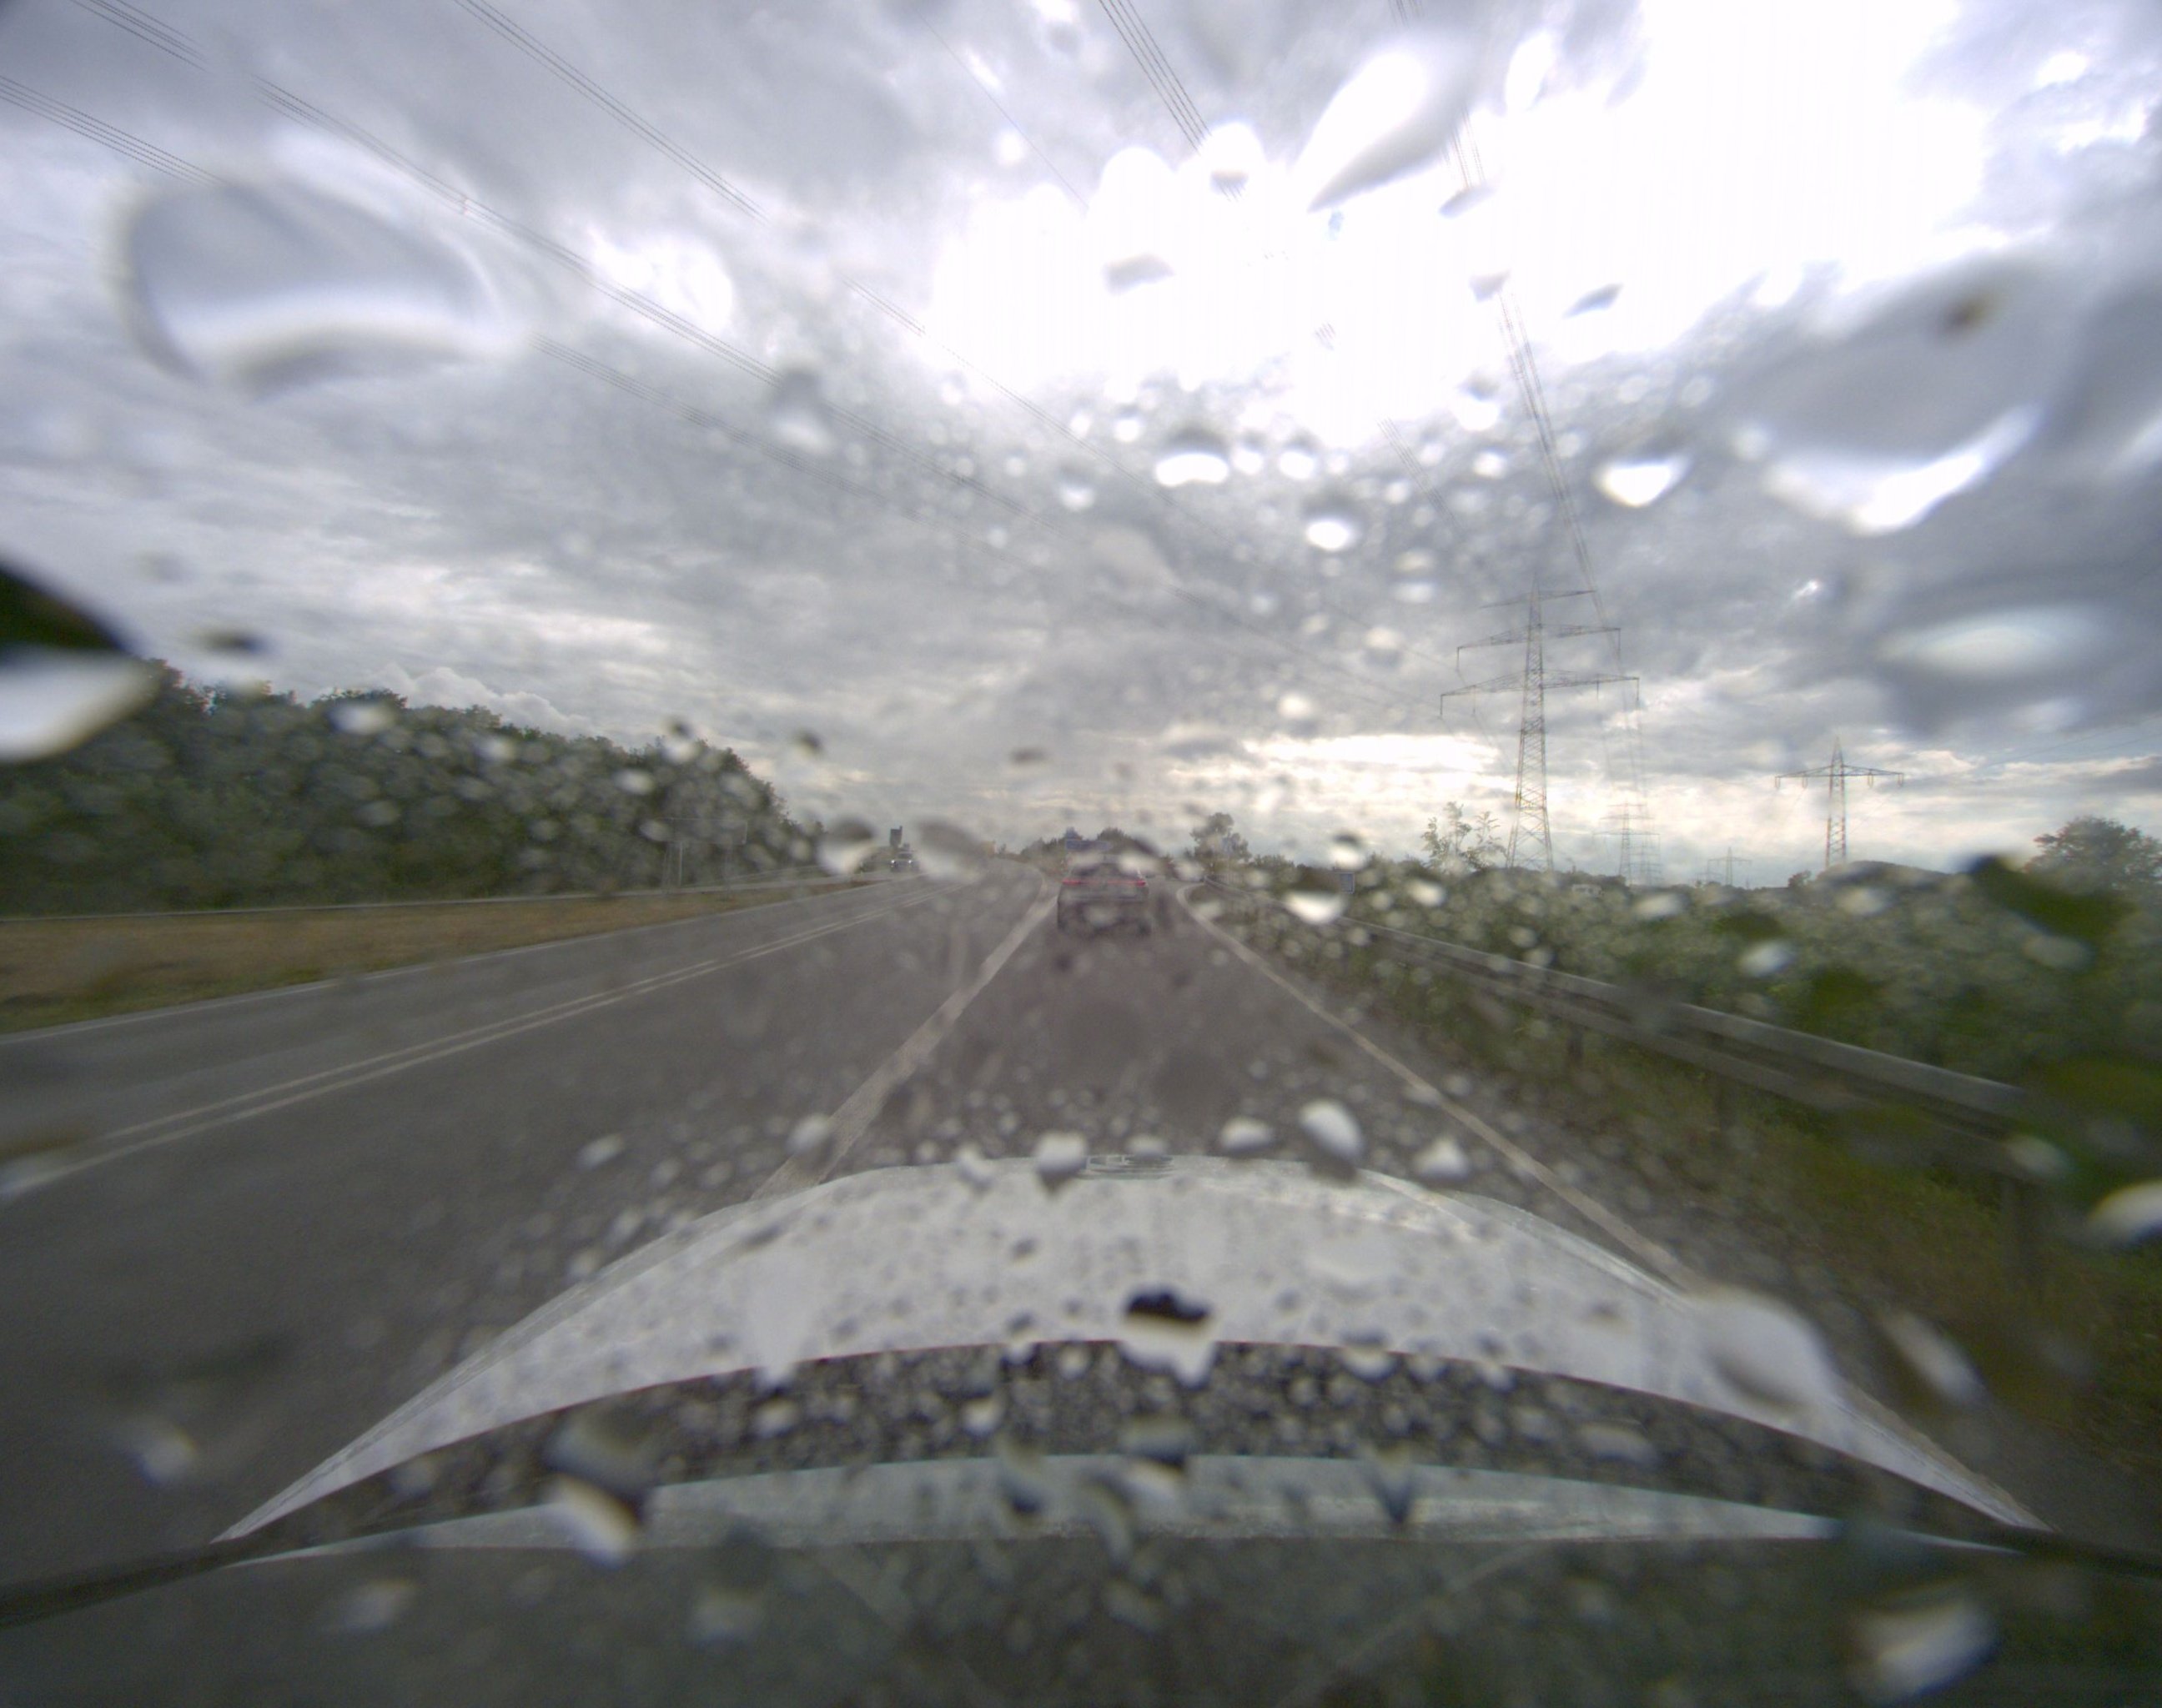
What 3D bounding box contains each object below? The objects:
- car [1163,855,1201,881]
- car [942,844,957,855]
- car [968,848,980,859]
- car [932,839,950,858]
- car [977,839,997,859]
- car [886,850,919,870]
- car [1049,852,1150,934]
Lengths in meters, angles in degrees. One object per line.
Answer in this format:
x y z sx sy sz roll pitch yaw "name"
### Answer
6.676 0.945 53.566 1.778 1.441 4.015 3 -2 16 "car"
-28.562 -1.016 177.259 2.607 2.251 5.505 1 -2 -15 "car"
-17.470 -0.053 133.227 1.792 1.688 3.985 1 -2 -10 "car"
-20.687 -0.770 120.321 2.351 2.701 6.970 2 0 -10 "car"
-13.320 -0.717 115.815 2.570 2.725 7.181 1 0 -6 "car"
-13.455 0.459 61.530 1.741 1.365 4.043 -3 -1 -4 "car"
0.375 0.728 16.389 1.785 1.441 4.001 0 -1 1 "car"
